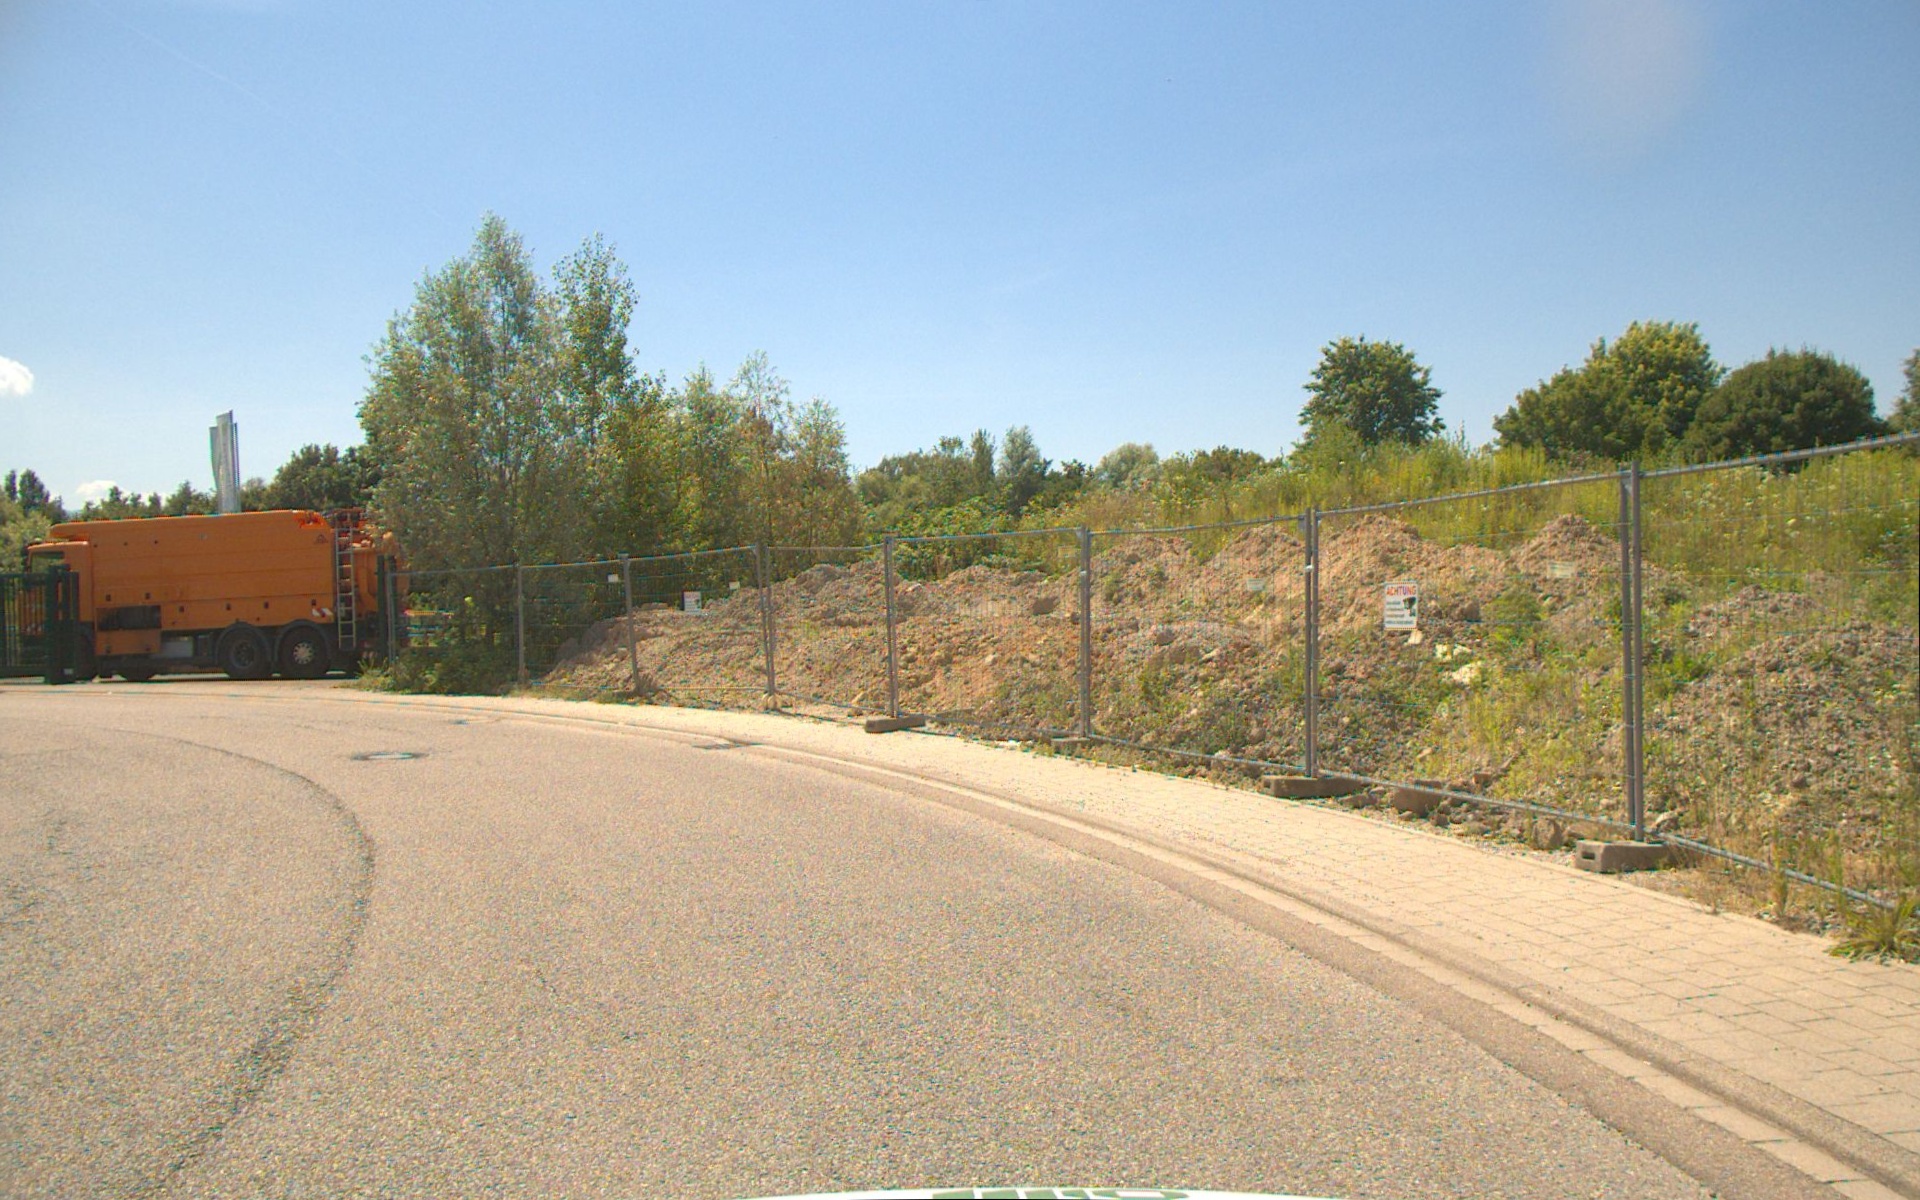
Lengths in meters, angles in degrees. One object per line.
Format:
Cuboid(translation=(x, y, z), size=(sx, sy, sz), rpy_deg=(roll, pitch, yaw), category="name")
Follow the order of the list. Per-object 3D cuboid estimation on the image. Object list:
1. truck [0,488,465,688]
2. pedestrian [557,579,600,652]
Cuboid(translation=(-15.836, -0.250, 36.324), size=(8.400, 3.872, 4.168), rpy_deg=(-2, 1, 8), category="truck")
Cuboid(translation=(-9.900, 0.394, 42.945), size=(0.857, 1.856, 0.740), rpy_deg=(-1, 1, 10), category="pedestrian")
